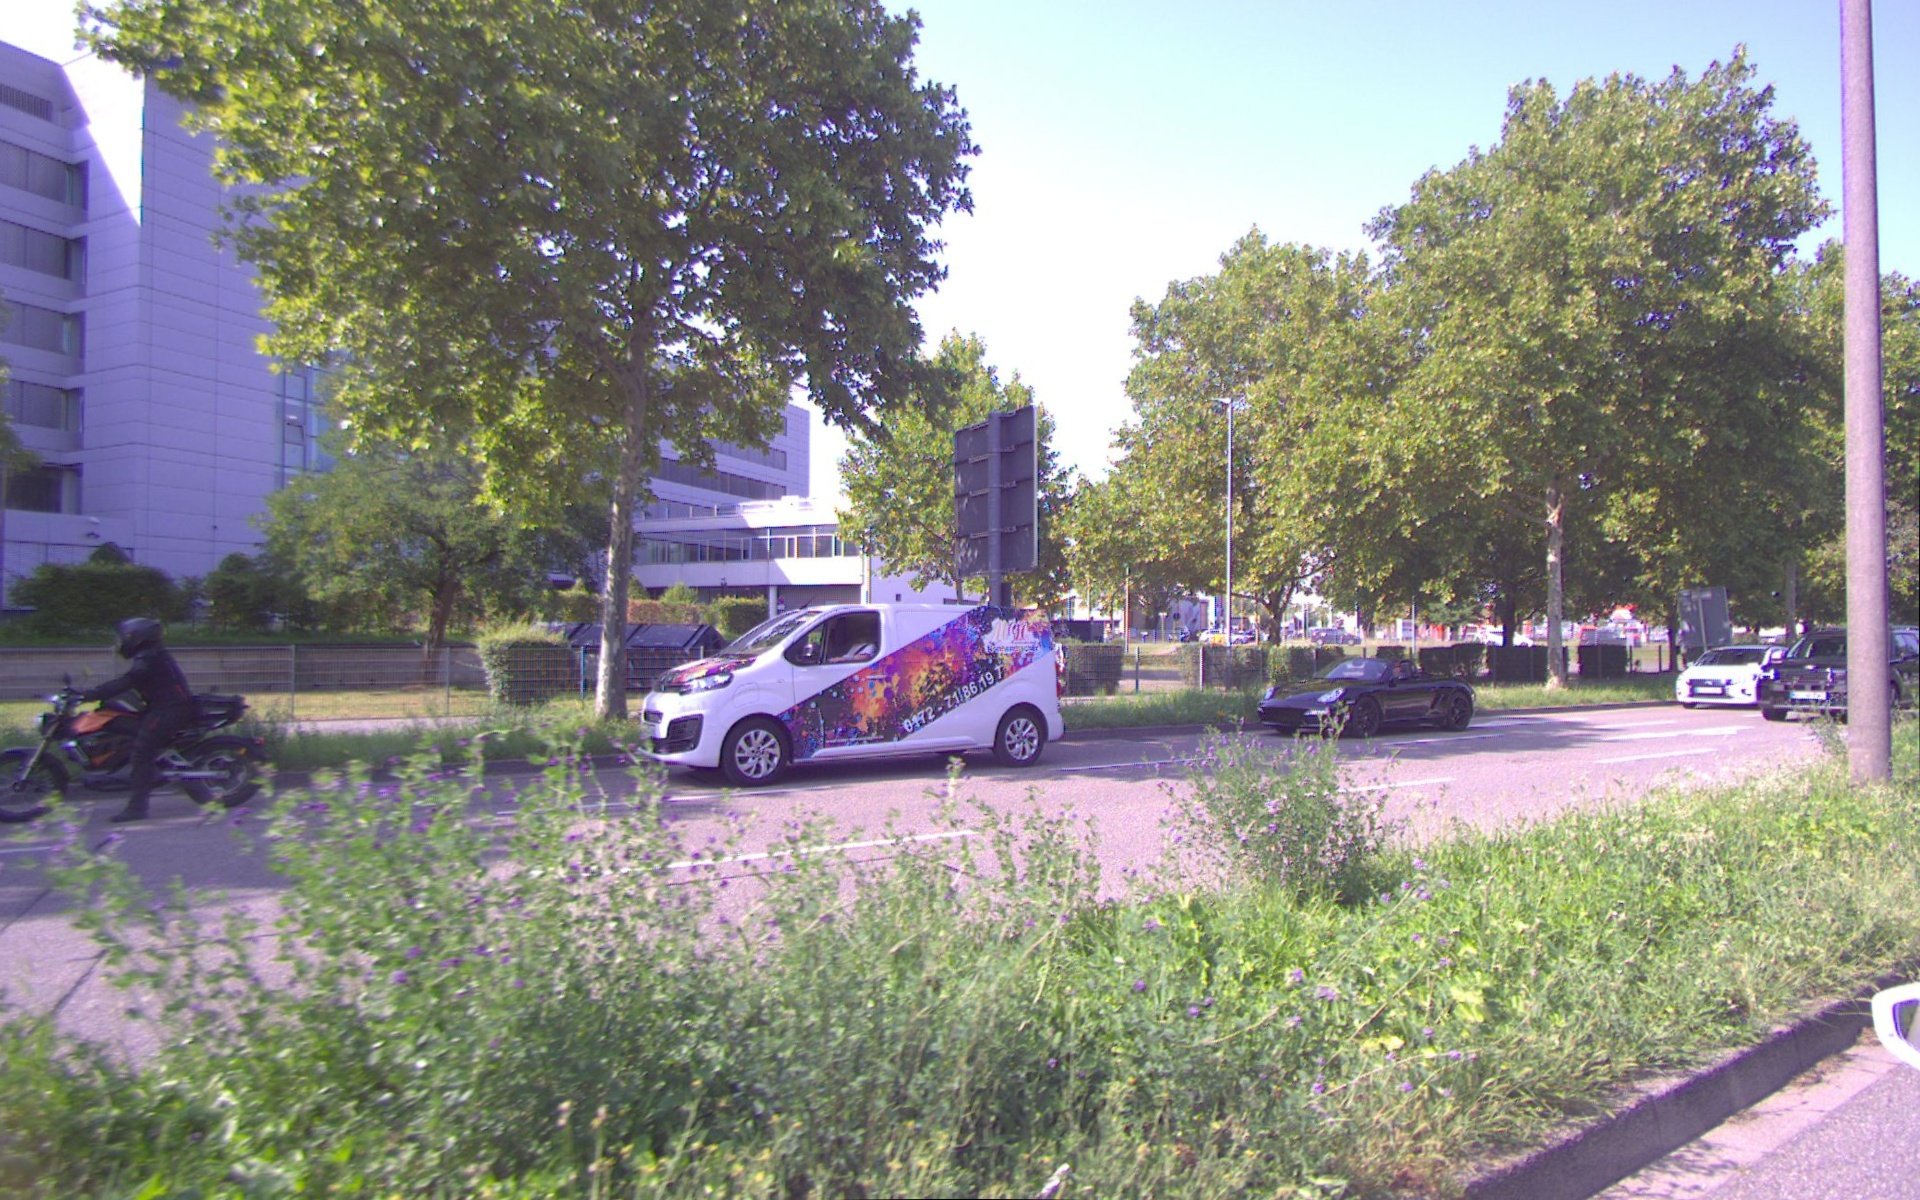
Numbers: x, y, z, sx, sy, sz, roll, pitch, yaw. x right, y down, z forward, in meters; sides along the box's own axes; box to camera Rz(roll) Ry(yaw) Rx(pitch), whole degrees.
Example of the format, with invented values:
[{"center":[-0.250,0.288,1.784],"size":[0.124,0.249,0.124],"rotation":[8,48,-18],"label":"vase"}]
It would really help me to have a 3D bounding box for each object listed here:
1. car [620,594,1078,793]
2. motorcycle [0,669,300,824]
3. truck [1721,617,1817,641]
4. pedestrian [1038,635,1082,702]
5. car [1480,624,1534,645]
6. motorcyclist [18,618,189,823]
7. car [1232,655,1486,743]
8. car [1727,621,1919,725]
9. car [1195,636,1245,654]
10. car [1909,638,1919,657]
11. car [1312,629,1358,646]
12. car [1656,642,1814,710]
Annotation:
[{"center":[-1.187,0.997,11.643],"size":[4.913,1.882,1.975],"rotation":[2,-4,-31],"label":"car"},{"center":[-6.982,1.170,8.346],"size":[2.439,1.122,0.791],"rotation":[2,-1,-31],"label":"motorcycle"},{"center":[103.371,3.749,128.564],"size":[8.841,2.996,3.513],"rotation":[-1,-2,23],"label":"truck"},{"center":[2.562,1.751,25.770],"size":[0.923,1.674,0.614],"rotation":[1,-1,-31],"label":"pedestrian"},{"center":[48.024,3.010,88.266],"size":[3.923,1.701,1.870],"rotation":[0,-1,23],"label":"car"},{"center":[-7.038,0.947,8.316],"size":[0.911,1.574,0.774],"rotation":[1,-1,-30],"label":"motorcyclist"},{"center":[6.654,1.572,16.694],"size":[4.046,1.279,1.783],"rotation":[1,-3,-30],"label":"car"},{"center":[16.940,1.371,19.297],"size":[4.426,1.782,1.984],"rotation":[2,-4,-31],"label":"car"},{"center":[25.213,4.337,97.383],"size":[4.499,1.565,1.870],"rotation":[0,-1,20],"label":"car"},{"center":[75.936,3.680,77.532],"size":[3.631,1.462,1.466],"rotation":[0,-1,23],"label":"car"},{"center":[35.006,3.477,93.865],"size":[3.924,1.565,1.839],"rotation":[-1,-2,24],"label":"car"},{"center":[18.607,1.765,24.086],"size":[3.957,1.501,1.781],"rotation":[2,-2,-33],"label":"car"}]
